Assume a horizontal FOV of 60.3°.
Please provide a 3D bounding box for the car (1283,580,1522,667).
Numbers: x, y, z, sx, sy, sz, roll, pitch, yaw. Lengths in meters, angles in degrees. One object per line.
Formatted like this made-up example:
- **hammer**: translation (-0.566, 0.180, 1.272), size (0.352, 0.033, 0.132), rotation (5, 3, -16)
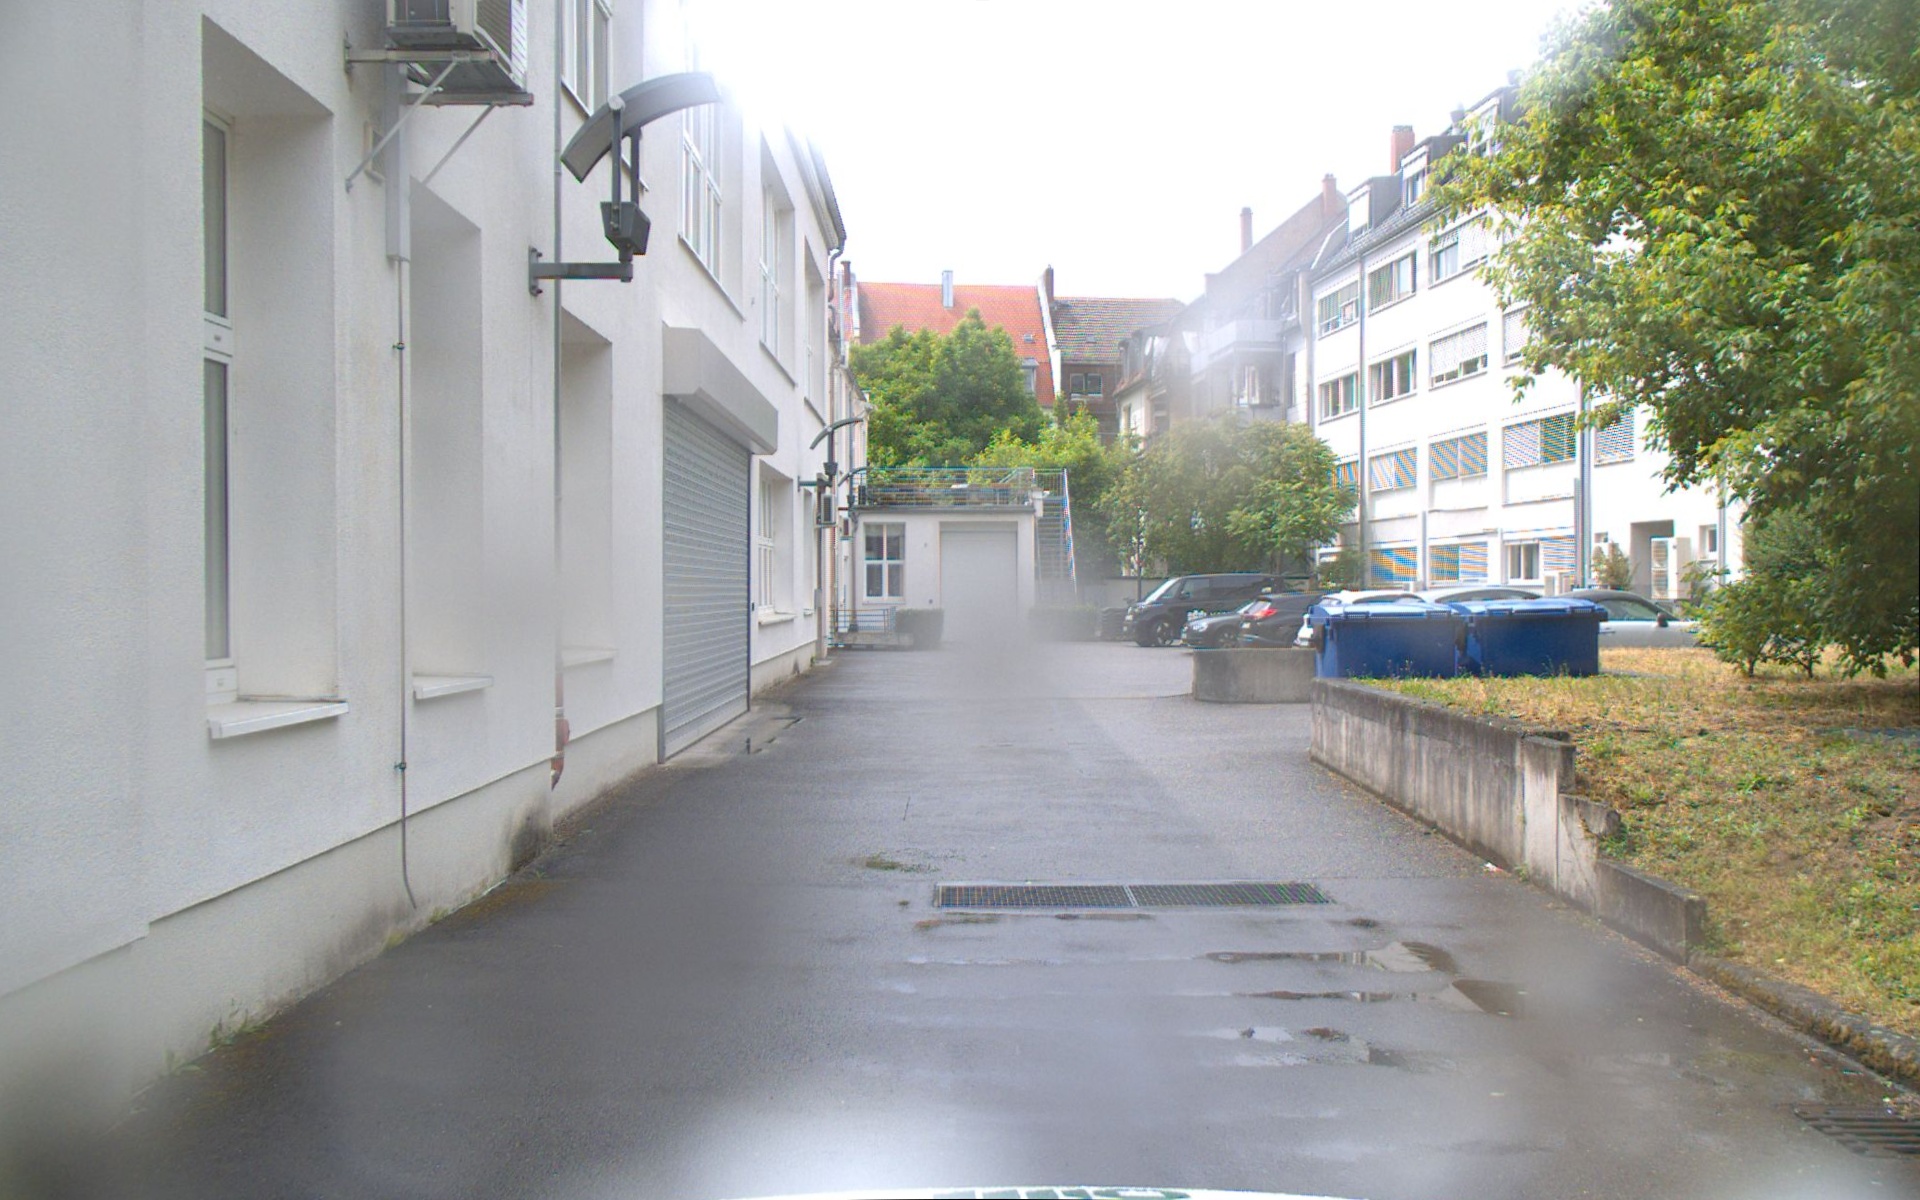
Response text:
- **car**: translation (8.407, 0.415, 31.597), size (4.018, 1.480, 1.831), rotation (-2, 1, -5)

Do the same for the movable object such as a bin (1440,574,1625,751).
- **movable object such as a bin**: translation (5.123, 0.533, 14.885), size (1.249, 1.509, 1.101), rotation (1, 2, -1)

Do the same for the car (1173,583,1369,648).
- **car**: translation (7.414, 0.342, 39.636), size (4.271, 1.372, 1.857), rotation (-2, 1, -8)

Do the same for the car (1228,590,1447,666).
- **car**: translation (7.967, 0.561, 35.072), size (4.091, 1.425, 1.936), rotation (-2, 0, -8)

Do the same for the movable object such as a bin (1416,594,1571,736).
- **movable object such as a bin**: translation (5.396, 0.640, 16.798), size (1.204, 1.340, 1.055), rotation (-1, 2, -1)

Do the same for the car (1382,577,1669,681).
- **car**: translation (9.007, 0.446, 26.497), size (4.000, 1.483, 1.666), rotation (-2, 0, -5)

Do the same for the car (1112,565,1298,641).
- **car**: translation (6.682, 0.049, 45.436), size (4.620, 1.865, 2.107), rotation (-2, 1, -8)

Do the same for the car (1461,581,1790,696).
- **car**: translation (9.356, 0.515, 23.467), size (3.907, 1.378, 1.791), rotation (-3, 1, -2)

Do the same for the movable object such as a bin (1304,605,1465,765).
- **movable object such as a bin**: translation (3.803, 0.742, 14.907), size (1.150, 1.340, 1.055), rotation (1, 2, -1)

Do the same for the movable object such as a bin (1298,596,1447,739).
- **movable object such as a bin**: translation (4.146, 0.659, 16.710), size (1.204, 1.340, 1.055), rotation (-1, 2, -1)
